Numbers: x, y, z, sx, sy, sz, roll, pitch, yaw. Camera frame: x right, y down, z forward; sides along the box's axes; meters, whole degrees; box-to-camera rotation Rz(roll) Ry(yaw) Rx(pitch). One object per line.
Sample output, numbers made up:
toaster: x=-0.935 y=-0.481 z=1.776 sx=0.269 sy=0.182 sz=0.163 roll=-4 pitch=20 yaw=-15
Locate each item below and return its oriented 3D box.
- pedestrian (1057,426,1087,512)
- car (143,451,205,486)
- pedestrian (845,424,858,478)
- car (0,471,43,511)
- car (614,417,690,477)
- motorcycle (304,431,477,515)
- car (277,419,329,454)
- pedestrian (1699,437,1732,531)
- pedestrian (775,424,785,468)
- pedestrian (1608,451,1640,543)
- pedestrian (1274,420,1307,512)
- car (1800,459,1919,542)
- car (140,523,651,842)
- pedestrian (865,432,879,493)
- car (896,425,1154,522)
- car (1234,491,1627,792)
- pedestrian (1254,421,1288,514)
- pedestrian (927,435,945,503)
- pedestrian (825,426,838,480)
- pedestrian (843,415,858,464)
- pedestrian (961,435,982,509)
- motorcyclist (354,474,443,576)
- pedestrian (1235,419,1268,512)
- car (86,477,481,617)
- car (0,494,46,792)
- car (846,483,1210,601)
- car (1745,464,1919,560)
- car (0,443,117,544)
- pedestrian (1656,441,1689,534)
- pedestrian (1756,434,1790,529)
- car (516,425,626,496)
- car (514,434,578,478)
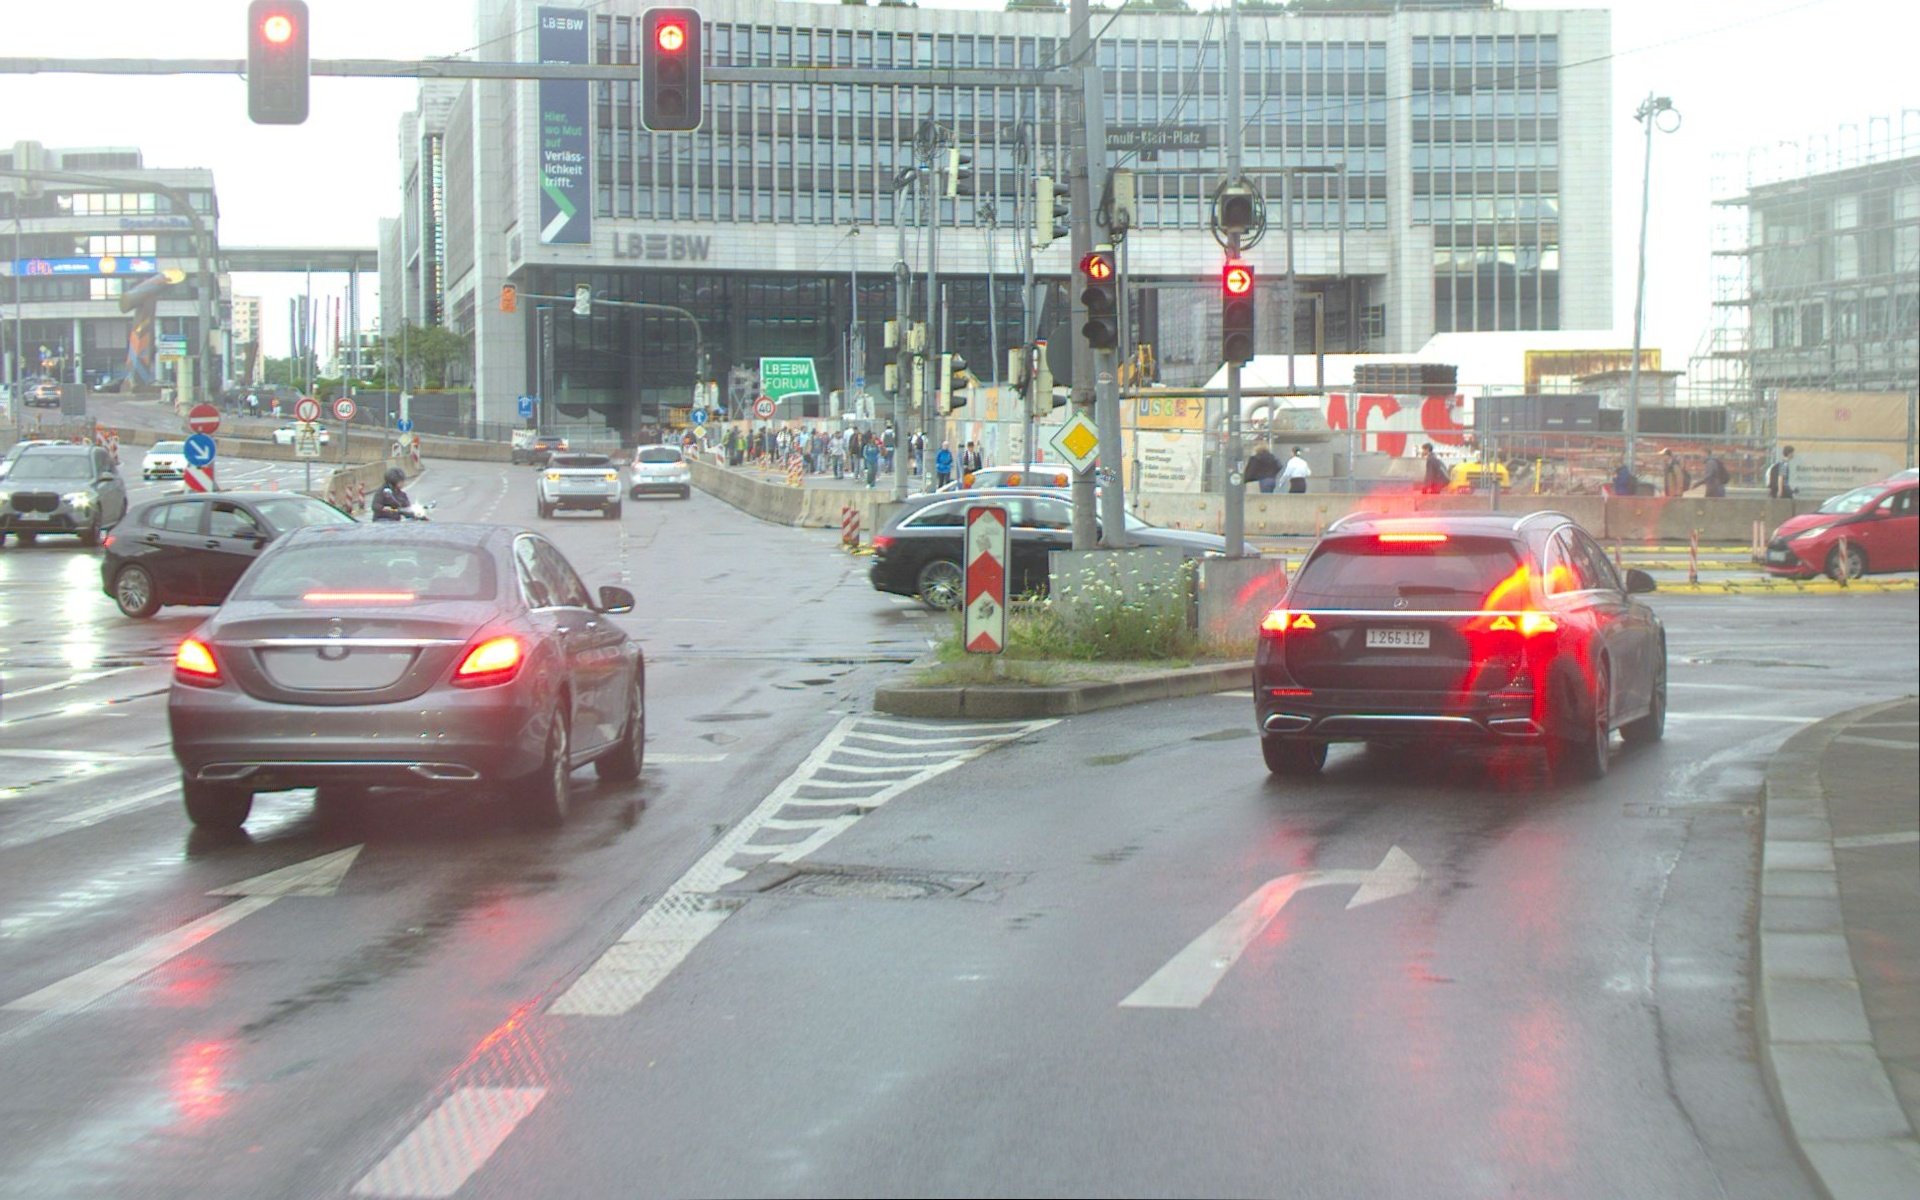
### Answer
pedestrian: x=2.467 y=-2.884 z=75.801 sx=0.361 sy=1.891 sz=0.576 roll=0 pitch=1 yaw=-39
car: x=-30.690 y=-5.121 z=134.324 sx=1.767 sy=1.256 sz=4.001 roll=0 pitch=1 yaw=-4
pedestrian: x=-3.827 y=-5.238 z=121.082 sx=0.361 sy=1.891 sz=0.576 roll=0 pitch=1 yaw=-9
car: x=-30.867 y=-3.509 z=110.887 sx=1.767 sy=1.256 sz=4.195 roll=0 pitch=1 yaw=-4
car: x=-9.234 y=-4.595 z=102.892 sx=1.727 sy=1.634 sz=3.436 roll=0 pitch=4 yaw=-14
motorcycle: x=-7.692 y=-1.712 z=46.483 sx=2.137 sy=1.104 sz=0.851 roll=1 pitch=1 yaw=11
car: x=-37.433 y=-9.307 z=195.909 sx=1.993 sy=1.809 sz=4.001 roll=0 pitch=1 yaw=-25
pedestrian: x=15.267 y=-2.336 z=69.468 sx=0.574 sy=1.891 sz=0.362 roll=0 pitch=1 yaw=1
pedestrian: x=-7.885 y=-6.762 z=150.738 sx=0.361 sy=1.891 sz=0.576 roll=0 pitch=1 yaw=-9
pedestrian: x=13.712 y=-2.120 z=71.004 sx=0.575 sy=1.891 sz=0.362 roll=1 pitch=1 yaw=22
pedestrian: x=6.832 y=-2.762 z=71.136 sx=0.361 sy=1.891 sz=0.576 roll=0 pitch=1 yaw=-41
car: x=17.069 y=-1.774 z=61.856 sx=3.548 sy=1.468 sz=1.786 roll=1 pitch=1 yaw=6
car: x=-2.707 y=0.324 z=17.484 sx=1.783 sy=1.397 sz=4.486 roll=0 pitch=1 yaw=1
pedestrian: x=-2.761 y=-4.293 z=107.516 sx=0.361 sy=1.891 sz=0.576 roll=0 pitch=1 yaw=-9
car: x=1.214 y=-2.357 z=64.623 sx=4.410 sy=1.760 sz=1.997 roll=1 pitch=1 yaw=25
car: x=2.817 y=0.175 z=19.866 sx=1.892 sy=1.538 sz=3.991 roll=1 pitch=1 yaw=13
pedestrian: x=6.404 y=-2.730 z=70.847 sx=0.361 sy=1.891 sz=0.576 roll=-3 pitch=2 yaw=-40
pedestrian: x=-0.679 y=-3.663 z=96.225 sx=0.361 sy=1.891 sz=0.577 roll=0 pitch=1 yaw=-14
pedestrian: x=-4.518 y=-5.165 z=120.990 sx=0.361 sy=1.891 sz=0.576 roll=0 pitch=1 yaw=-9
pedestrian: x=-4.335 y=-6.326 z=135.673 sx=0.519 sy=1.891 sz=0.576 roll=0 pitch=1 yaw=-9
pedestrian: x=0.305 y=-3.278 z=88.406 sx=0.361 sy=1.891 sz=0.577 roll=0 pitch=1 yaw=-18
motorcyclist: x=-7.591 y=-1.013 z=46.480 sx=0.945 sy=1.353 sz=0.849 roll=1 pitch=1 yaw=11
pedestrian: x=5.980 y=-2.757 z=70.521 sx=0.361 sy=1.891 sz=0.576 roll=0 pitch=1 yaw=-43
car: x=-7.658 y=-0.615 z=38.863 sx=4.106 sy=1.501 sz=1.997 roll=1 pitch=1 yaw=31
car: x=-5.868 y=0.241 z=15.713 sx=1.887 sy=1.509 sz=5.002 roll=0 pitch=1 yaw=2
car: x=0.846 y=-0.693 z=40.995 sx=4.100 sy=1.340 sz=1.999 roll=1 pitch=1 yaw=9
car: x=13.044 y=-1.220 z=48.322 sx=3.533 sy=1.300 sz=1.666 roll=0 pitch=1 yaw=-10
car: x=-16.875 y=-1.949 z=63.872 sx=1.993 sy=1.791 sz=5.104 roll=0 pitch=1 yaw=-10
pedestrian: x=14.619 y=-2.302 z=70.568 sx=0.574 sy=1.891 sz=0.362 roll=0 pitch=1 yaw=0
pedestrian: x=16.247 y=-2.368 z=68.703 sx=0.574 sy=1.891 sz=0.362 roll=1 pitch=1 yaw=4
car: x=-9.480 y=-3.366 z=83.448 sx=1.993 sy=1.634 sz=4.001 roll=0 pitch=1 yaw=-16
car: x=-20.008 y=-6.925 z=166.070 sx=1.993 sy=2.007 sz=4.001 roll=0 pitch=1 yaw=-24
